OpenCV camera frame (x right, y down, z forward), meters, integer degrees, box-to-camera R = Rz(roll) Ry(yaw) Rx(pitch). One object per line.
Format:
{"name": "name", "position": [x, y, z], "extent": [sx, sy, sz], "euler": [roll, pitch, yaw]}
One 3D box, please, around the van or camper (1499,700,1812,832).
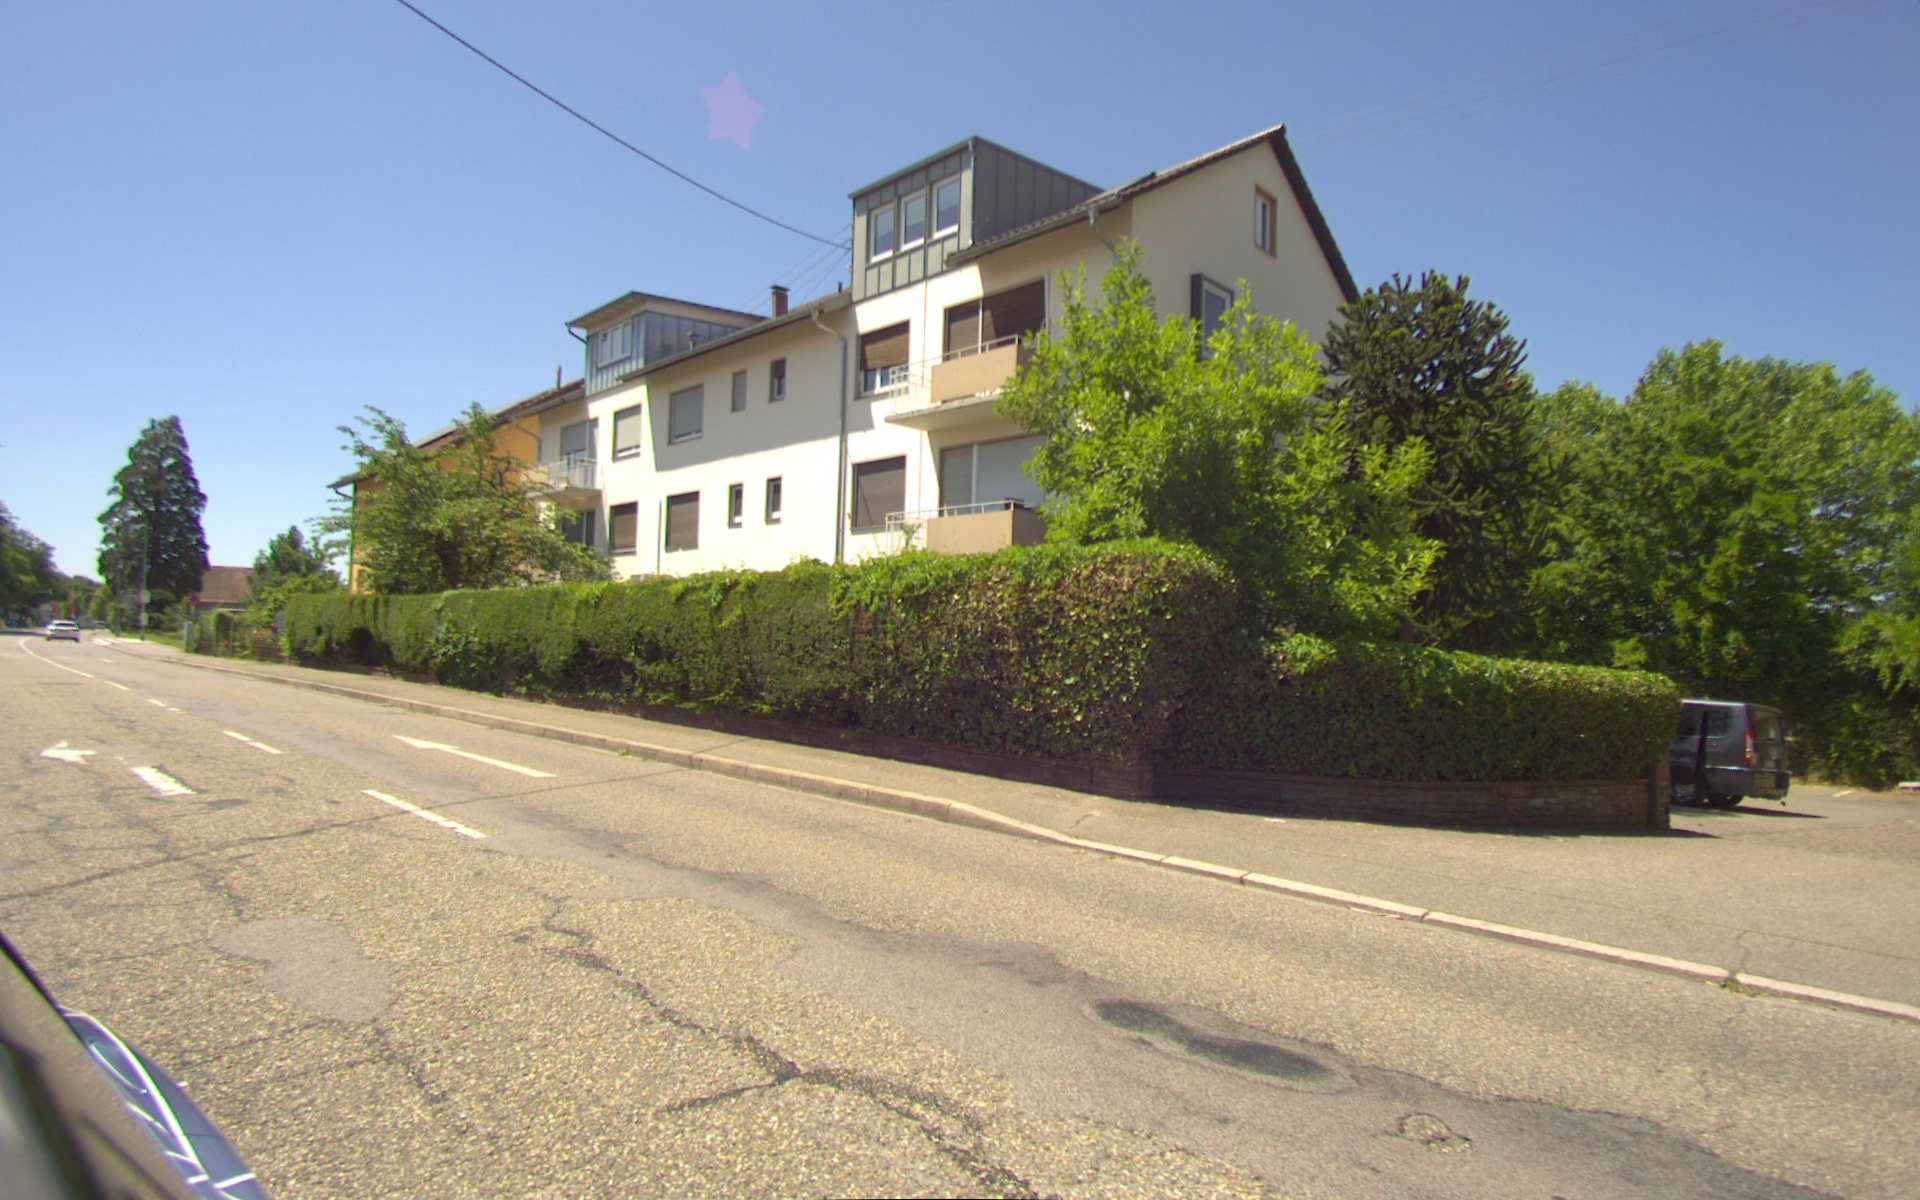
{"name": "van or camper", "position": [12.930, 3.004, 19.040], "extent": [1.894, 1.896, 4.523], "euler": [8, -6, -40]}

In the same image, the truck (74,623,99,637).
{"name": "truck", "position": [-146.870, 5.059, 170.254], "extent": [2.581, 2.258, 6.271], "euler": [4, -4, -36]}

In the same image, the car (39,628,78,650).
{"name": "car", "position": [-62.265, 2.707, 69.858], "extent": [4.208, 1.383, 1.661], "euler": [-2, -6, 45]}
